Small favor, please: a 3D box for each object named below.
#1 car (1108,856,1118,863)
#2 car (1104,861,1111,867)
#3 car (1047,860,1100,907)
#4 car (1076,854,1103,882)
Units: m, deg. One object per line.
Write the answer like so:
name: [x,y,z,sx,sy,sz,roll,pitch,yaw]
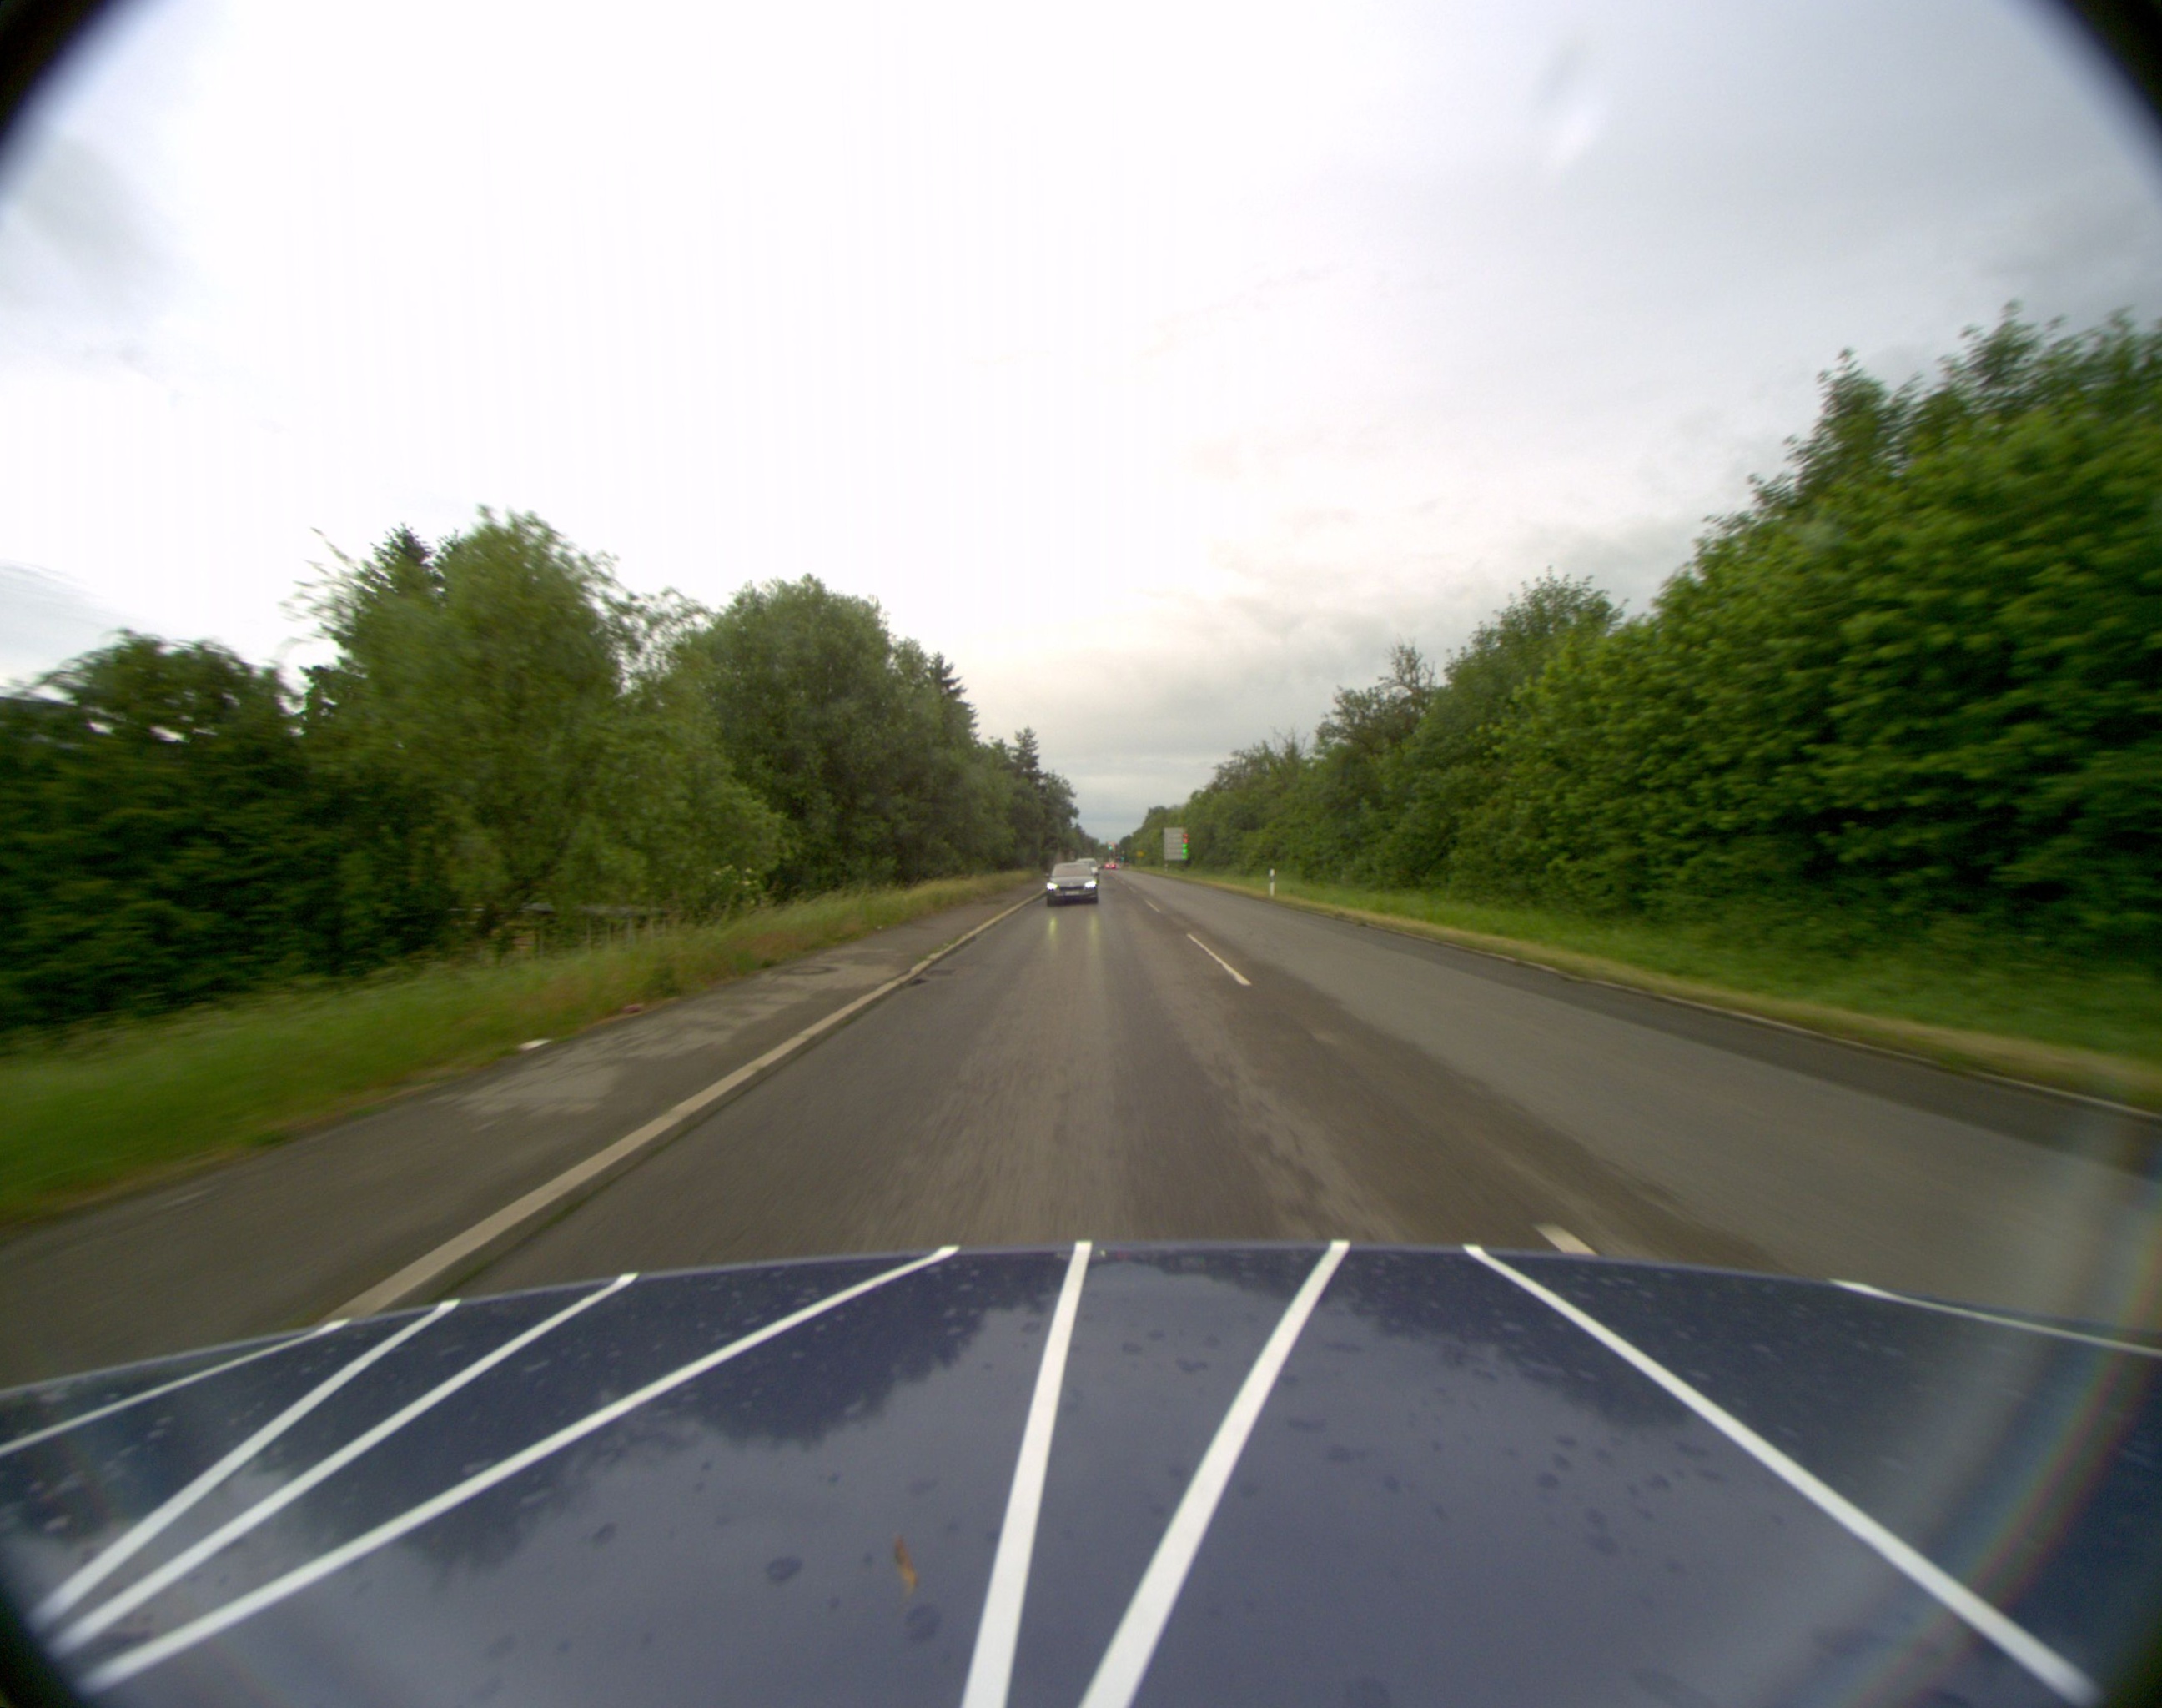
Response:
car: [7.008,1.156,165.629,1.896,1.346,4.382,-1,0,0]
car: [6.984,2.609,202.530,1.737,1.584,4.282,1,-1,0]
car: [-0.223,1.020,27.505,1.675,1.477,4.215,-3,-1,1]
car: [0.517,0.887,50.412,1.704,1.723,4.000,-1,0,0]
